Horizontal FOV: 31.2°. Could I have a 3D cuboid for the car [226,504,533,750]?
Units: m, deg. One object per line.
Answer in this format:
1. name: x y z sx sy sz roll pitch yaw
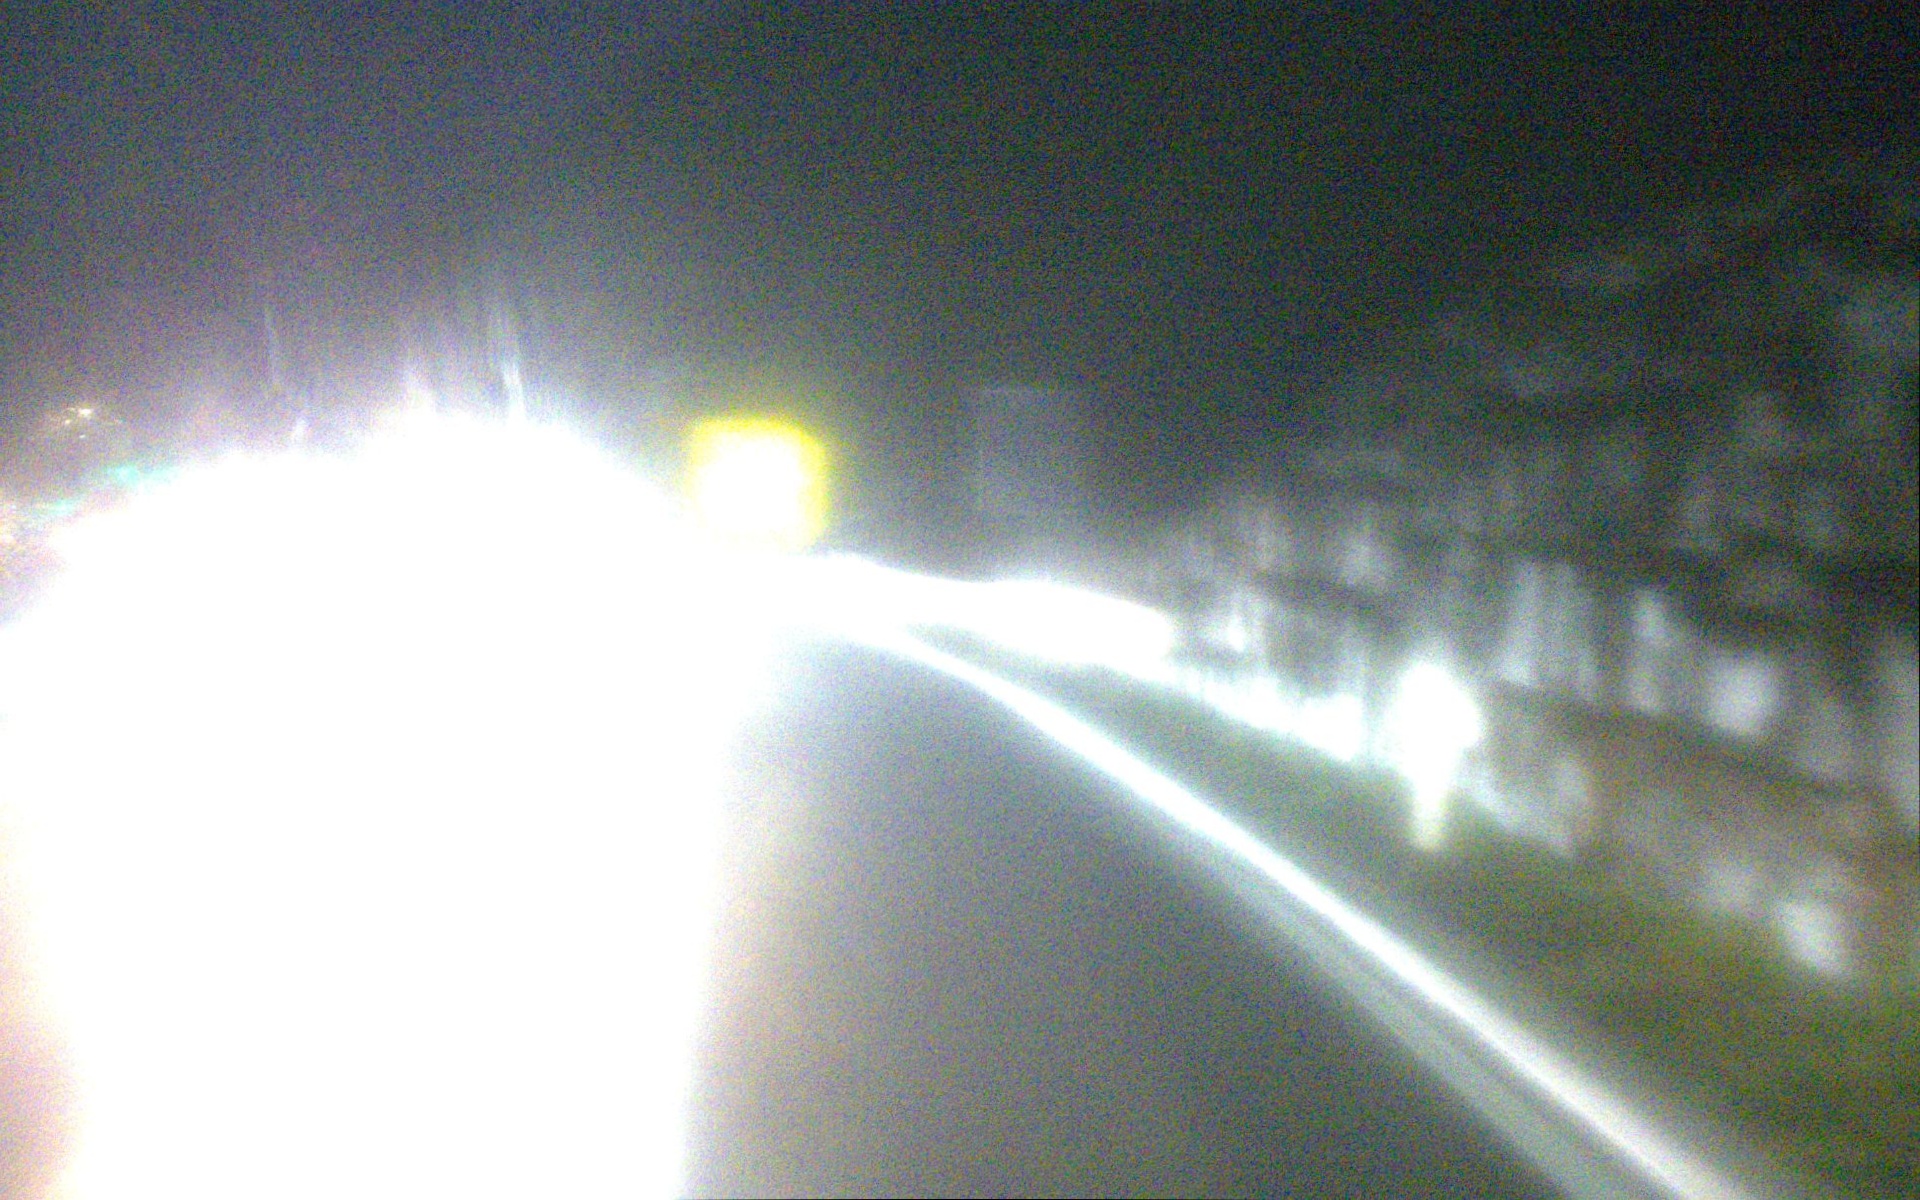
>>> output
1. car: -4.315 0.129 26.172 1.788 1.617 4.377 -1 3 -3
